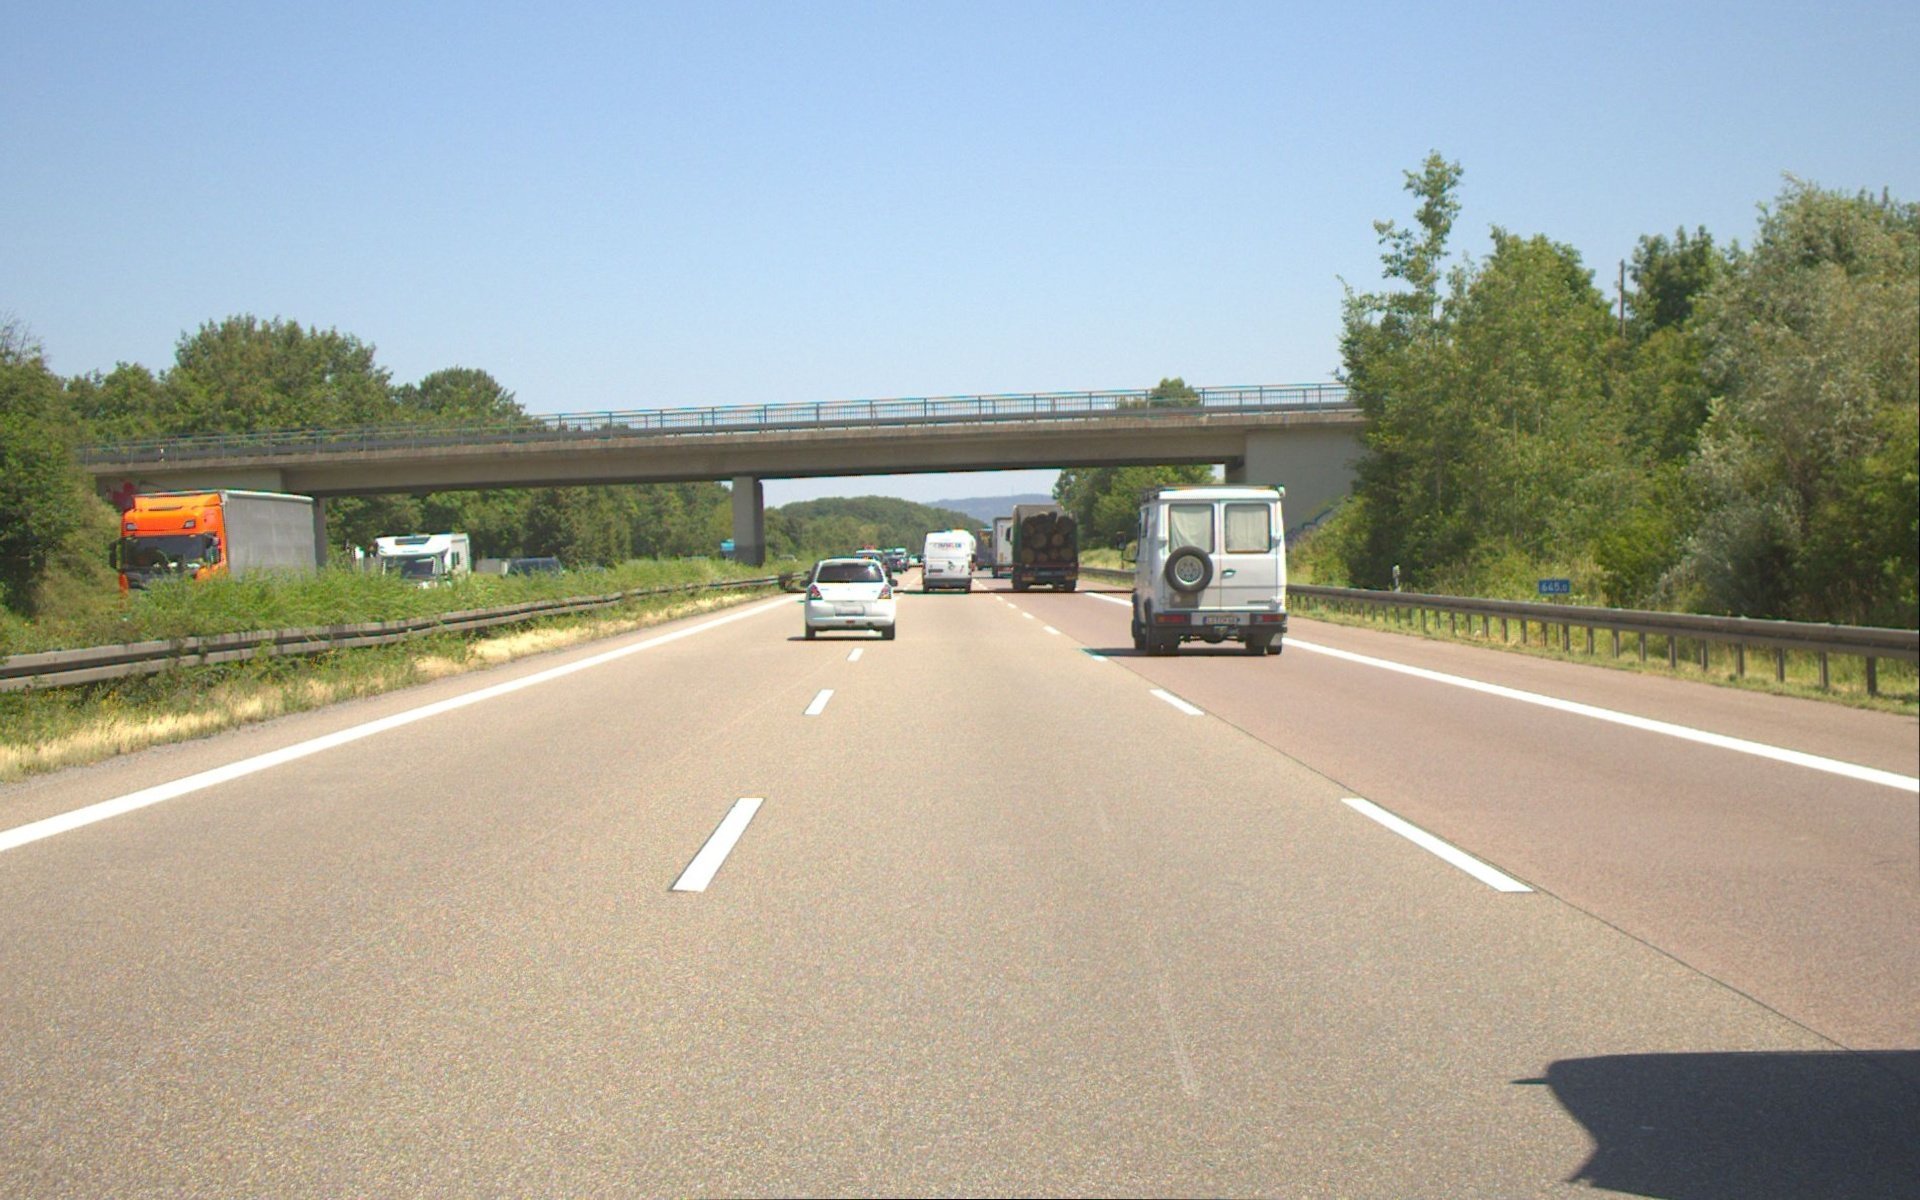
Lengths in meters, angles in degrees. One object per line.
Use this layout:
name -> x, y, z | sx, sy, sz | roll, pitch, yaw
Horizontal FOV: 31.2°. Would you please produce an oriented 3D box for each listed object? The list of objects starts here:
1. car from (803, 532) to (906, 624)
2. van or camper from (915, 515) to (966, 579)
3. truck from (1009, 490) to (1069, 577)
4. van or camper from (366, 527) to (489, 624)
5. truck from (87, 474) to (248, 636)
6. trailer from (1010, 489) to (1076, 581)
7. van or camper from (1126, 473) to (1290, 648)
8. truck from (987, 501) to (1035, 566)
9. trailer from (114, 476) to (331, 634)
car -> -1.977, -0.426, 64.953 | 1.857, 1.646, 4.000 | 1, 1, -1
van or camper -> -0.789, -2.198, 143.057 | 2.058, 2.613, 5.985 | 0, 1, 0
truck -> 3.668, -3.077, 160.825 | 2.670, 3.981, 6.636 | 0, 1, 0
van or camper -> -16.986, -0.798, 110.150 | 2.613, 2.956, 7.859 | 1, 1, 1
truck -> -21.442, -1.206, 93.252 | 3.137, 4.217, 5.176 | 1, 1, 0
trailer -> 3.649, -2.874, 153.809 | 2.653, 3.945, 13.636 | 0, 1, 0
van or camper -> 3.972, -0.640, 56.039 | 2.113, 2.694, 6.368 | 0, 1, -1
truck -> 3.433, -4.431, 233.213 | 3.079, 4.194, 16.843 | 1, 1, 1
trailer -> -21.396, -1.301, 100.838 | 3.144, 4.234, 14.479 | 1, 1, 0
